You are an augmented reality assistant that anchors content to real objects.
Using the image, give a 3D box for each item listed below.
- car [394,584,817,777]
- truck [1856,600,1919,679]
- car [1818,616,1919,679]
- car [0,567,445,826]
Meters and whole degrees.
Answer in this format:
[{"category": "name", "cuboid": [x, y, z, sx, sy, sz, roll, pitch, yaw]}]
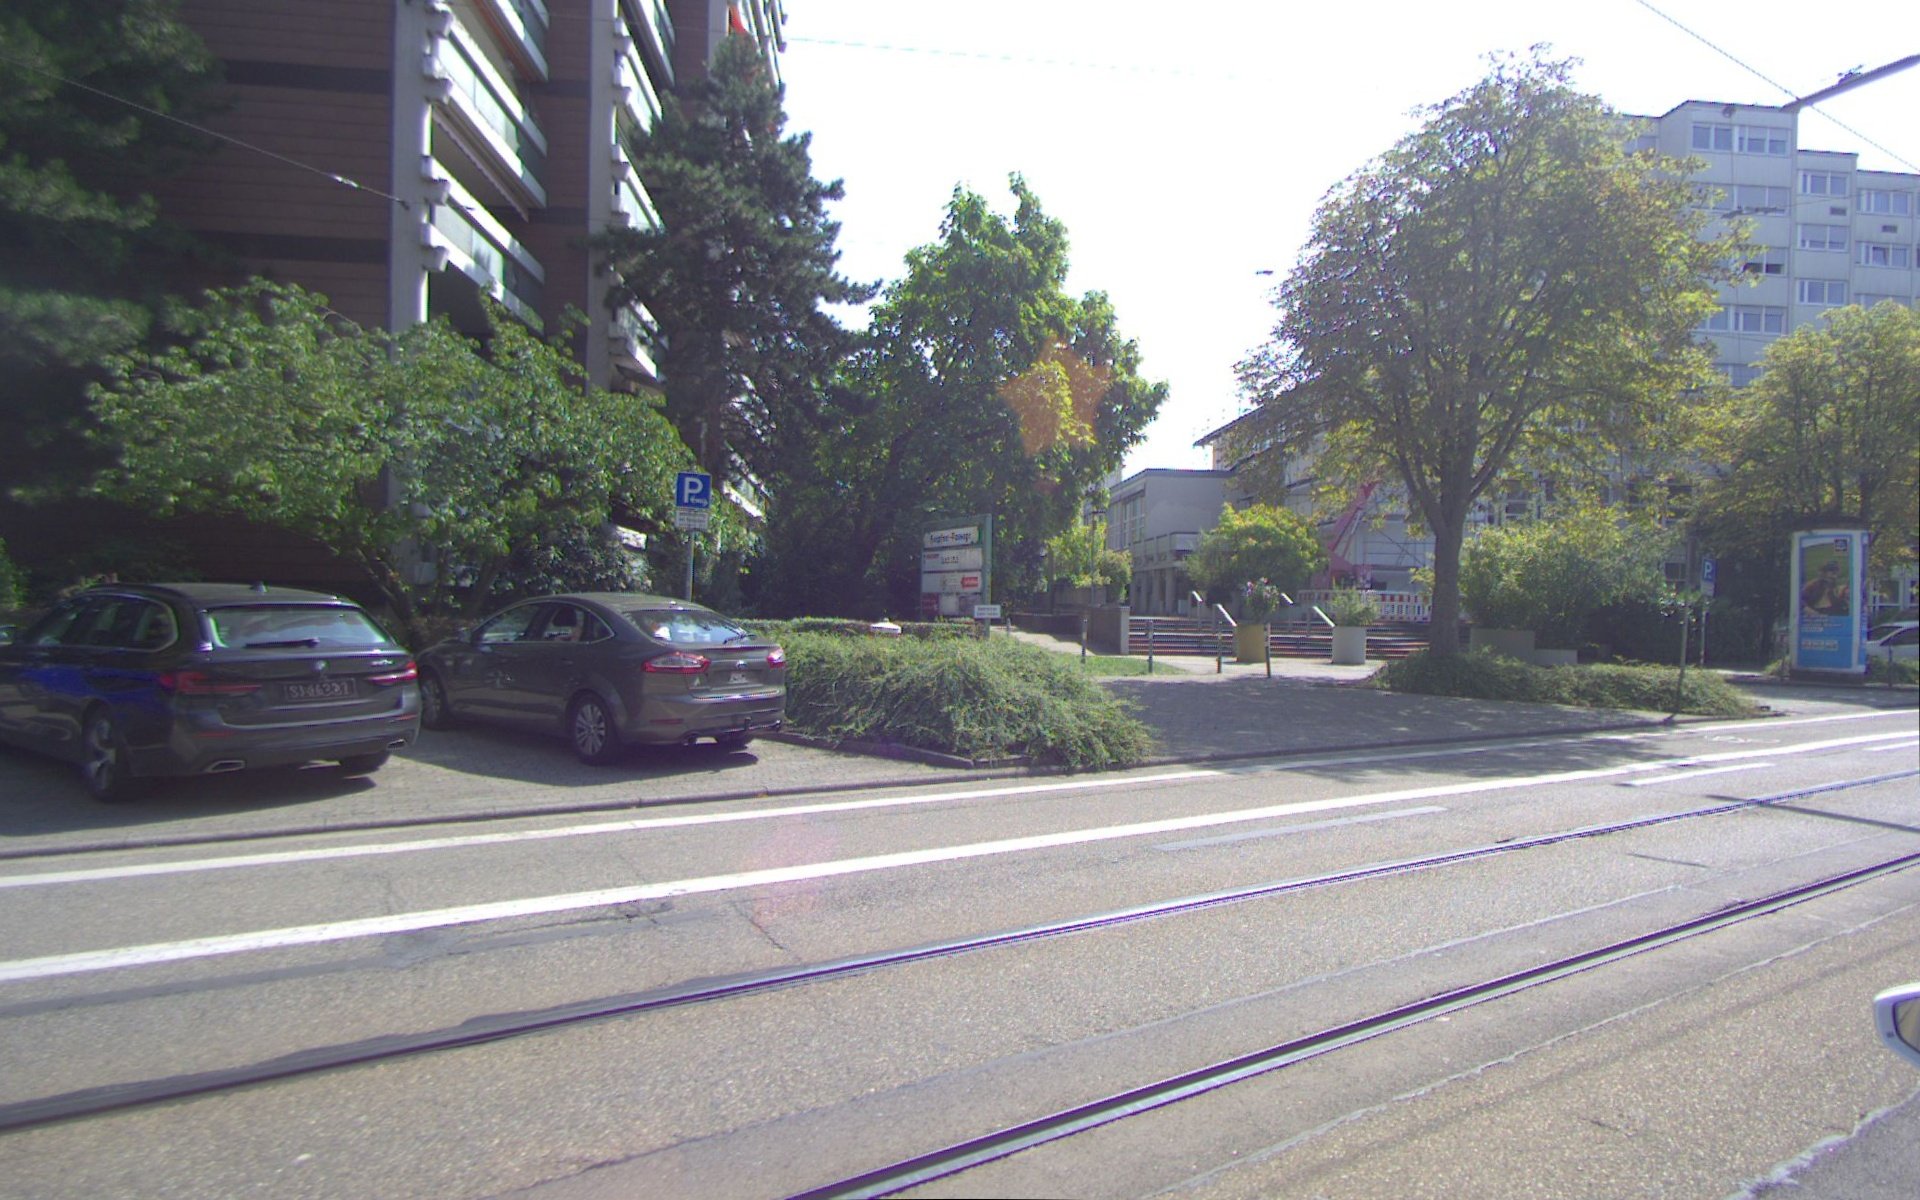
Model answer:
[{"category": "car", "cuboid": [-3.625, 0.644, 10.018, 4.223, 1.517, 1.776, 1, 0, 33]}, {"category": "truck", "cuboid": [32.378, 1.281, 31.592, 5.851, 2.467, 2.151, 1, -1, 20]}, {"category": "car", "cuboid": [28.565, 1.424, 29.885, 4.199, 1.795, 1.826, 1, 0, 16]}, {"category": "car", "cuboid": [-6.085, 0.573, 8.004, 3.931, 1.591, 1.776, 1, 0, 33]}]
